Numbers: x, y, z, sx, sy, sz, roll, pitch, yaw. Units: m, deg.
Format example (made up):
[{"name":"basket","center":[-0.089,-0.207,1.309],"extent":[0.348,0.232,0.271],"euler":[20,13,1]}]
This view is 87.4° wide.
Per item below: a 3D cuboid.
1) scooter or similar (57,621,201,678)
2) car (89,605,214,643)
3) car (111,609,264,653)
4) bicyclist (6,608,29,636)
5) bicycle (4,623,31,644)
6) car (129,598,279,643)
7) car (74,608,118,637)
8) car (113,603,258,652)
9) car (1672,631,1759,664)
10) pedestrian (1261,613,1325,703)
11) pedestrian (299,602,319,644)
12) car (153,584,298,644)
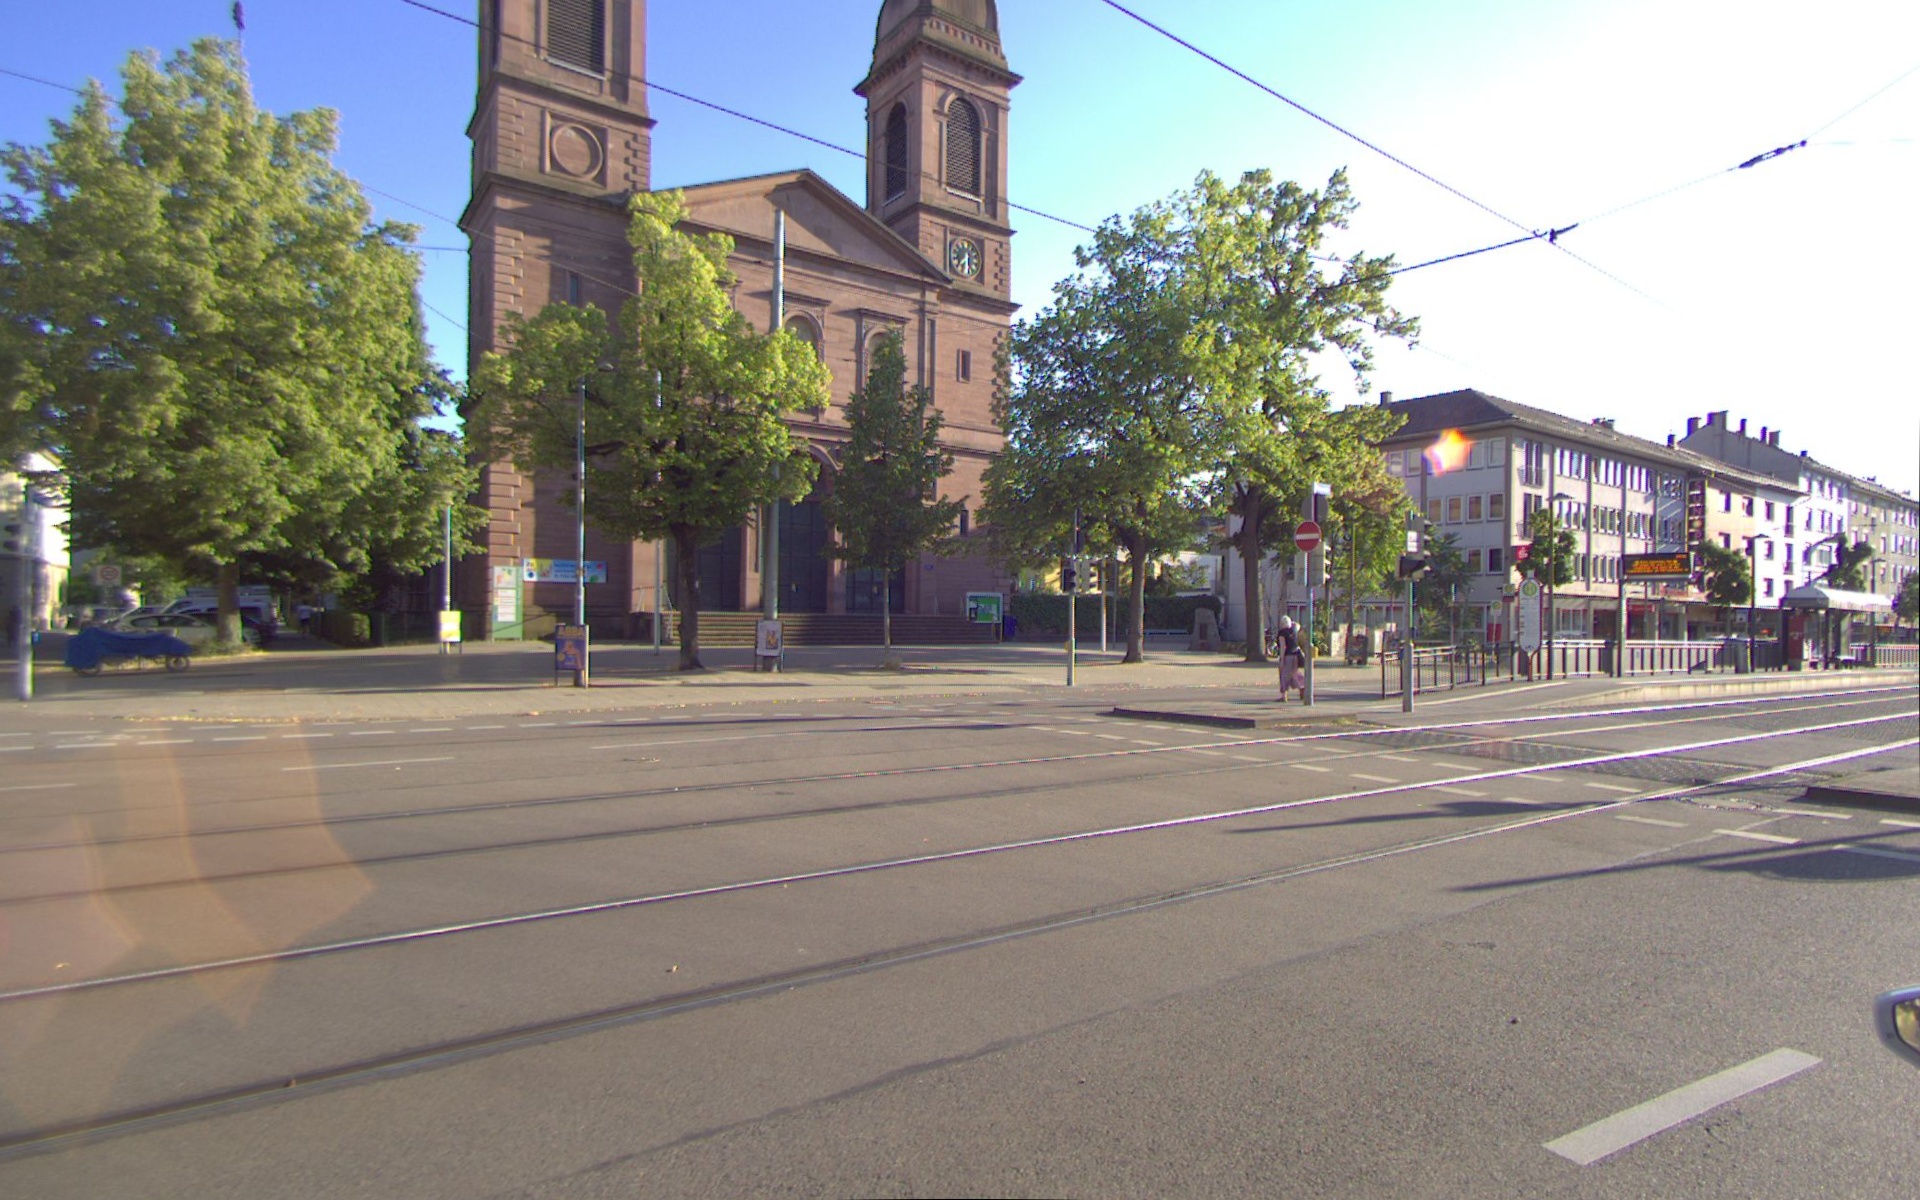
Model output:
[{"name":"scooter or similar","center":[-19.060,1.107,23.132],"extent":[2.423,1.141,1.086],"euler":[-2,1,-35]},{"name":"car","center":[-45.616,1.363,56.850],"extent":[5.375,2.040,1.979],"euler":[1,-1,-37]},{"name":"car","center":[-25.837,1.002,33.777],"extent":[3.960,1.417,1.799],"euler":[1,0,-35]},{"name":"bicyclist","center":[-45.630,1.079,48.637],"extent":[0.626,1.348,0.960],"euler":[1,-1,-34]},{"name":"bicycle","center":[-45.656,1.623,48.668],"extent":[0.626,0.993,1.970],"euler":[1,-1,-34]},{"name":"car","center":[-29.883,0.829,39.916],"extent":[4.663,1.684,1.980],"euler":[1,-1,-35]},{"name":"car","center":[-63.942,1.676,74.315],"extent":[5.351,2.040,1.988],"euler":[0,-1,44]},{"name":"car","center":[-27.452,0.978,35.770],"extent":[3.960,1.639,1.872],"euler":[1,-1,-35]},{"name":"car","center":[41.604,2.616,55.391],"extent":[3.440,1.702,1.771],"euler":[1,-1,2]},{"name":"pedestrian","center":[6.841,1.177,20.640],"extent":[0.823,1.783,0.913],"euler":[2,-1,-33]},{"name":"pedestrian","center":[-28.443,0.996,43.894],"extent":[0.685,1.789,0.732],"euler":[1,-1,-35]},{"name":"car","center":[-32.583,0.658,44.763],"extent":[5.063,2.552,1.980],"euler":[1,-1,-35]}]
